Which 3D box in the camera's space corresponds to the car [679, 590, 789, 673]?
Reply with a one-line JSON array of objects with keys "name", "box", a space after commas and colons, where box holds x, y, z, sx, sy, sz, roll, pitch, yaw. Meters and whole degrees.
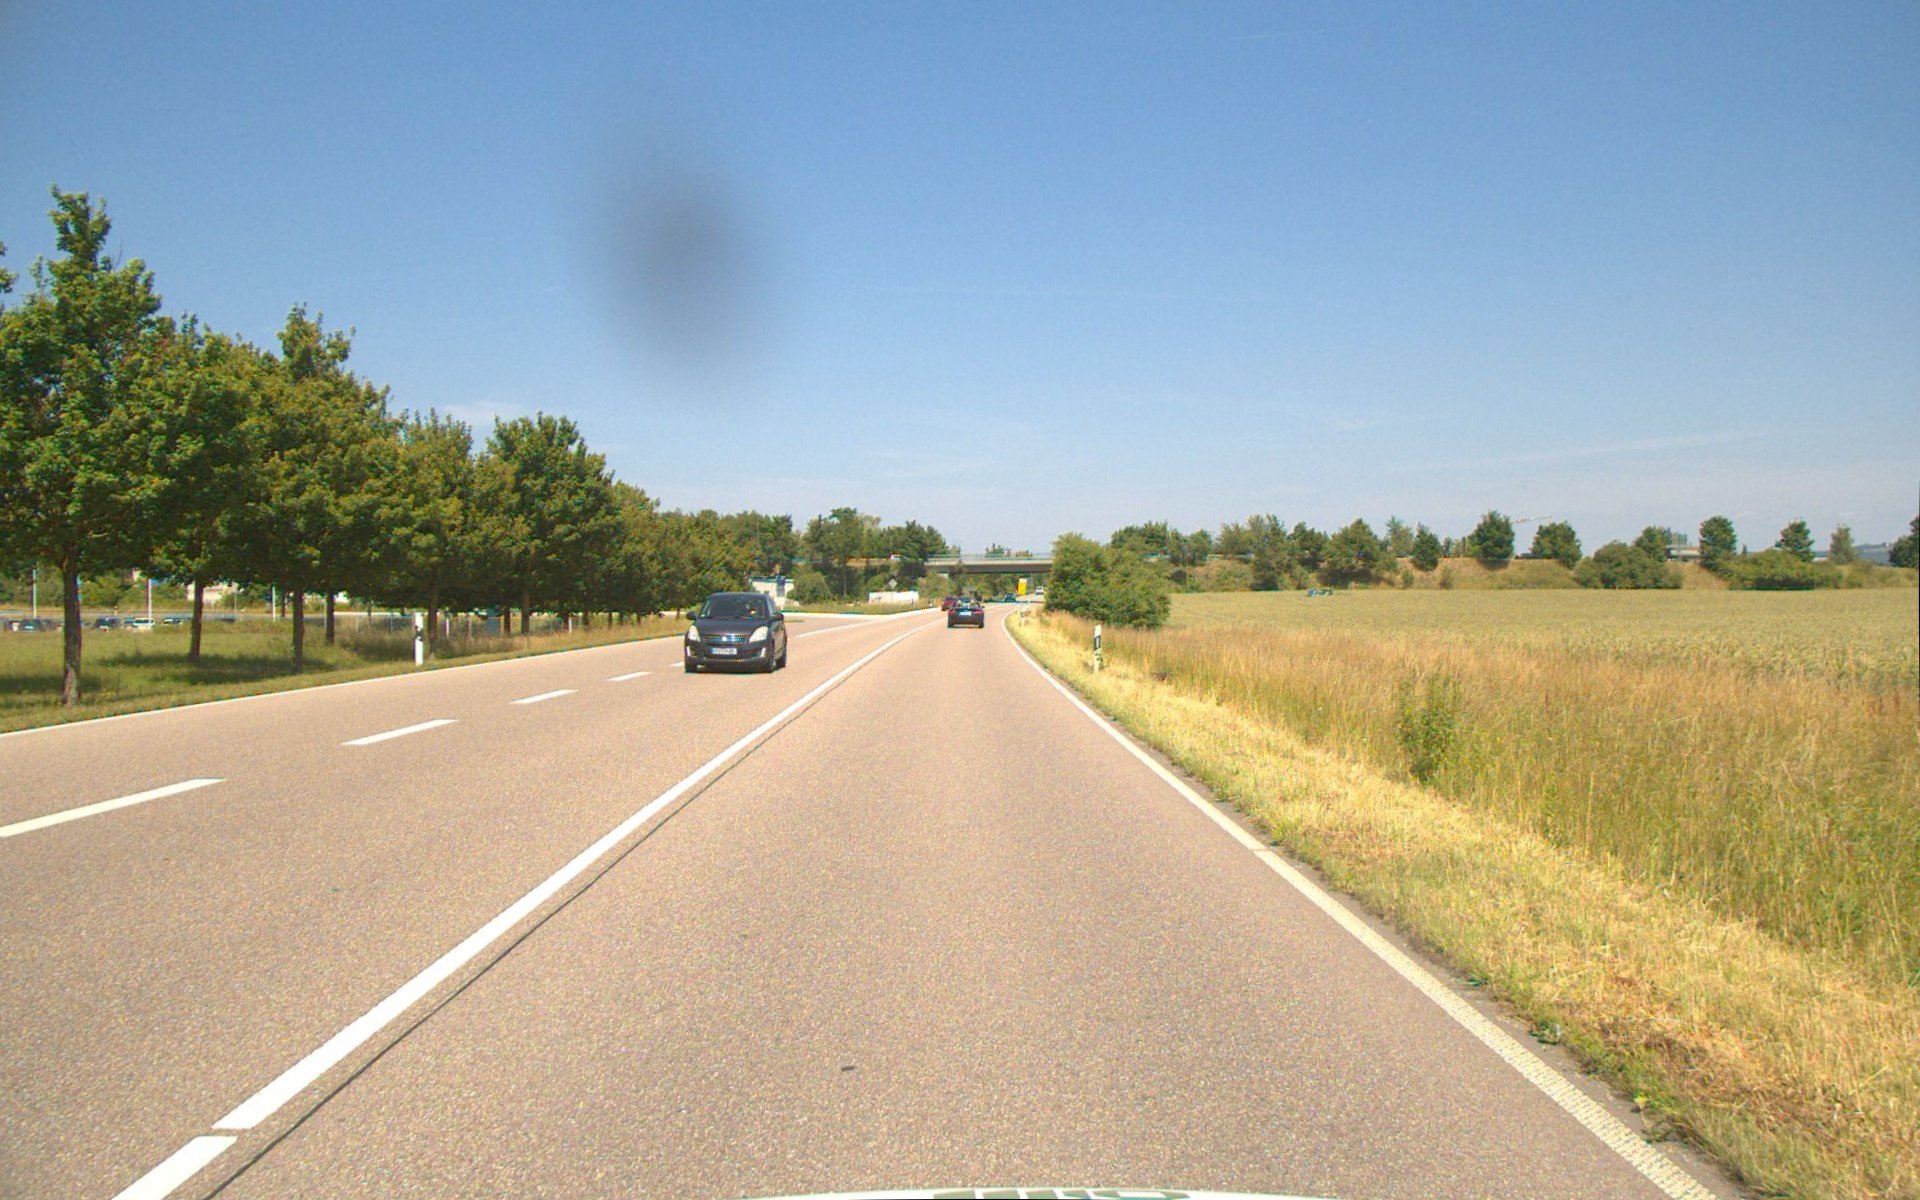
[{"name": "car", "box": [-4.373, 0.576, 32.490, 1.645, 1.525, 3.885, 1, 0, -1]}]

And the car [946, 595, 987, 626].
[{"name": "car", "box": [0.305, 0.503, 79.964, 1.778, 1.466, 3.998, 1, 0, -2]}]

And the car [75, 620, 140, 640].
[{"name": "car", "box": [-64.645, 2.247, 125.483, 1.955, 1.418, 3.996, -1, 0, 27]}]

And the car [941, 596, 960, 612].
[{"name": "car", "box": [-0.913, 0.366, 158.780, 1.706, 1.436, 4.624, 1, 0, 0]}]

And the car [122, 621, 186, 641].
[{"name": "car", "box": [-60.758, 2.305, 124.745, 1.955, 1.418, 3.996, -1, 0, 27]}]
